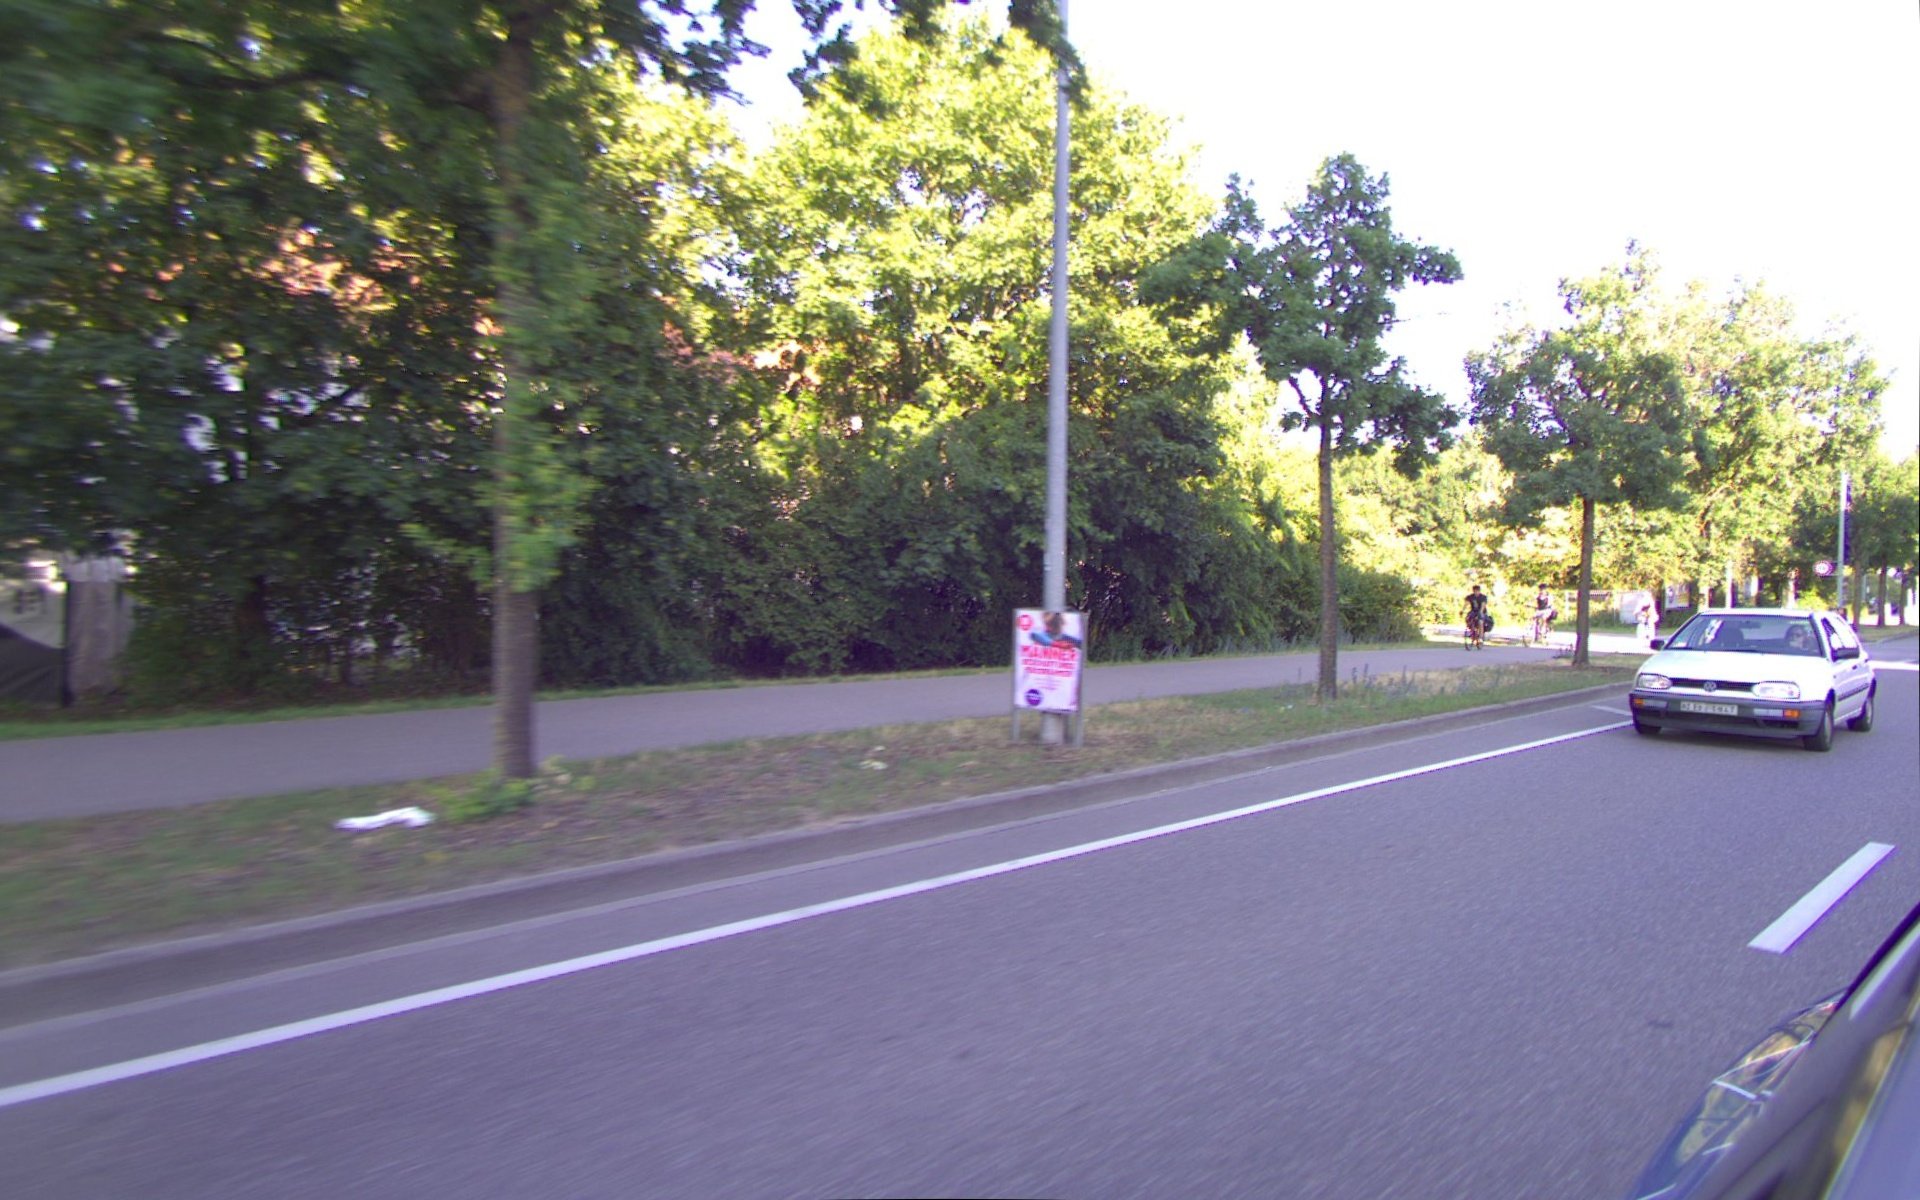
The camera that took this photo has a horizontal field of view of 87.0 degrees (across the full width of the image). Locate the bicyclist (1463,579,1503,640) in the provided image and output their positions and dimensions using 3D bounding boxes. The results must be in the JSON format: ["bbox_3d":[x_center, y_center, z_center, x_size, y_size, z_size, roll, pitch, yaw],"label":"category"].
[{"bbox_3d":[13.392,0.240,25.924,0.833,1.520,0.614,0,1,-40],"label":"bicyclist"}]

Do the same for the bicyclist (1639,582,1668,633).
[{"bbox_3d":[24.524,0.248,35.780,0.833,1.755,0.604,0,1,-40],"label":"bicyclist"}]

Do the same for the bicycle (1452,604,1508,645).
[{"bbox_3d":[13.297,0.603,25.856,1.789,0.986,0.618,0,1,-40],"label":"bicycle"}]

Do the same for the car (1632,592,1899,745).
[{"bbox_3d":[9.158,0.663,11.395,3.966,1.416,1.614,1,0,-40],"label":"car"}]

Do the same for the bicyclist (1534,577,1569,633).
[{"bbox_3d":[17.034,0.137,29.151,0.833,1.598,0.604,0,1,-40],"label":"bicyclist"}]

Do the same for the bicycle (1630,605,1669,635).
[{"bbox_3d":[24.203,0.681,35.515,2.022,0.986,0.618,0,1,-40],"label":"bicycle"}]

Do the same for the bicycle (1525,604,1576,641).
[{"bbox_3d":[17.036,0.636,29.170,2.022,0.986,0.618,0,1,-40],"label":"bicycle"}]
